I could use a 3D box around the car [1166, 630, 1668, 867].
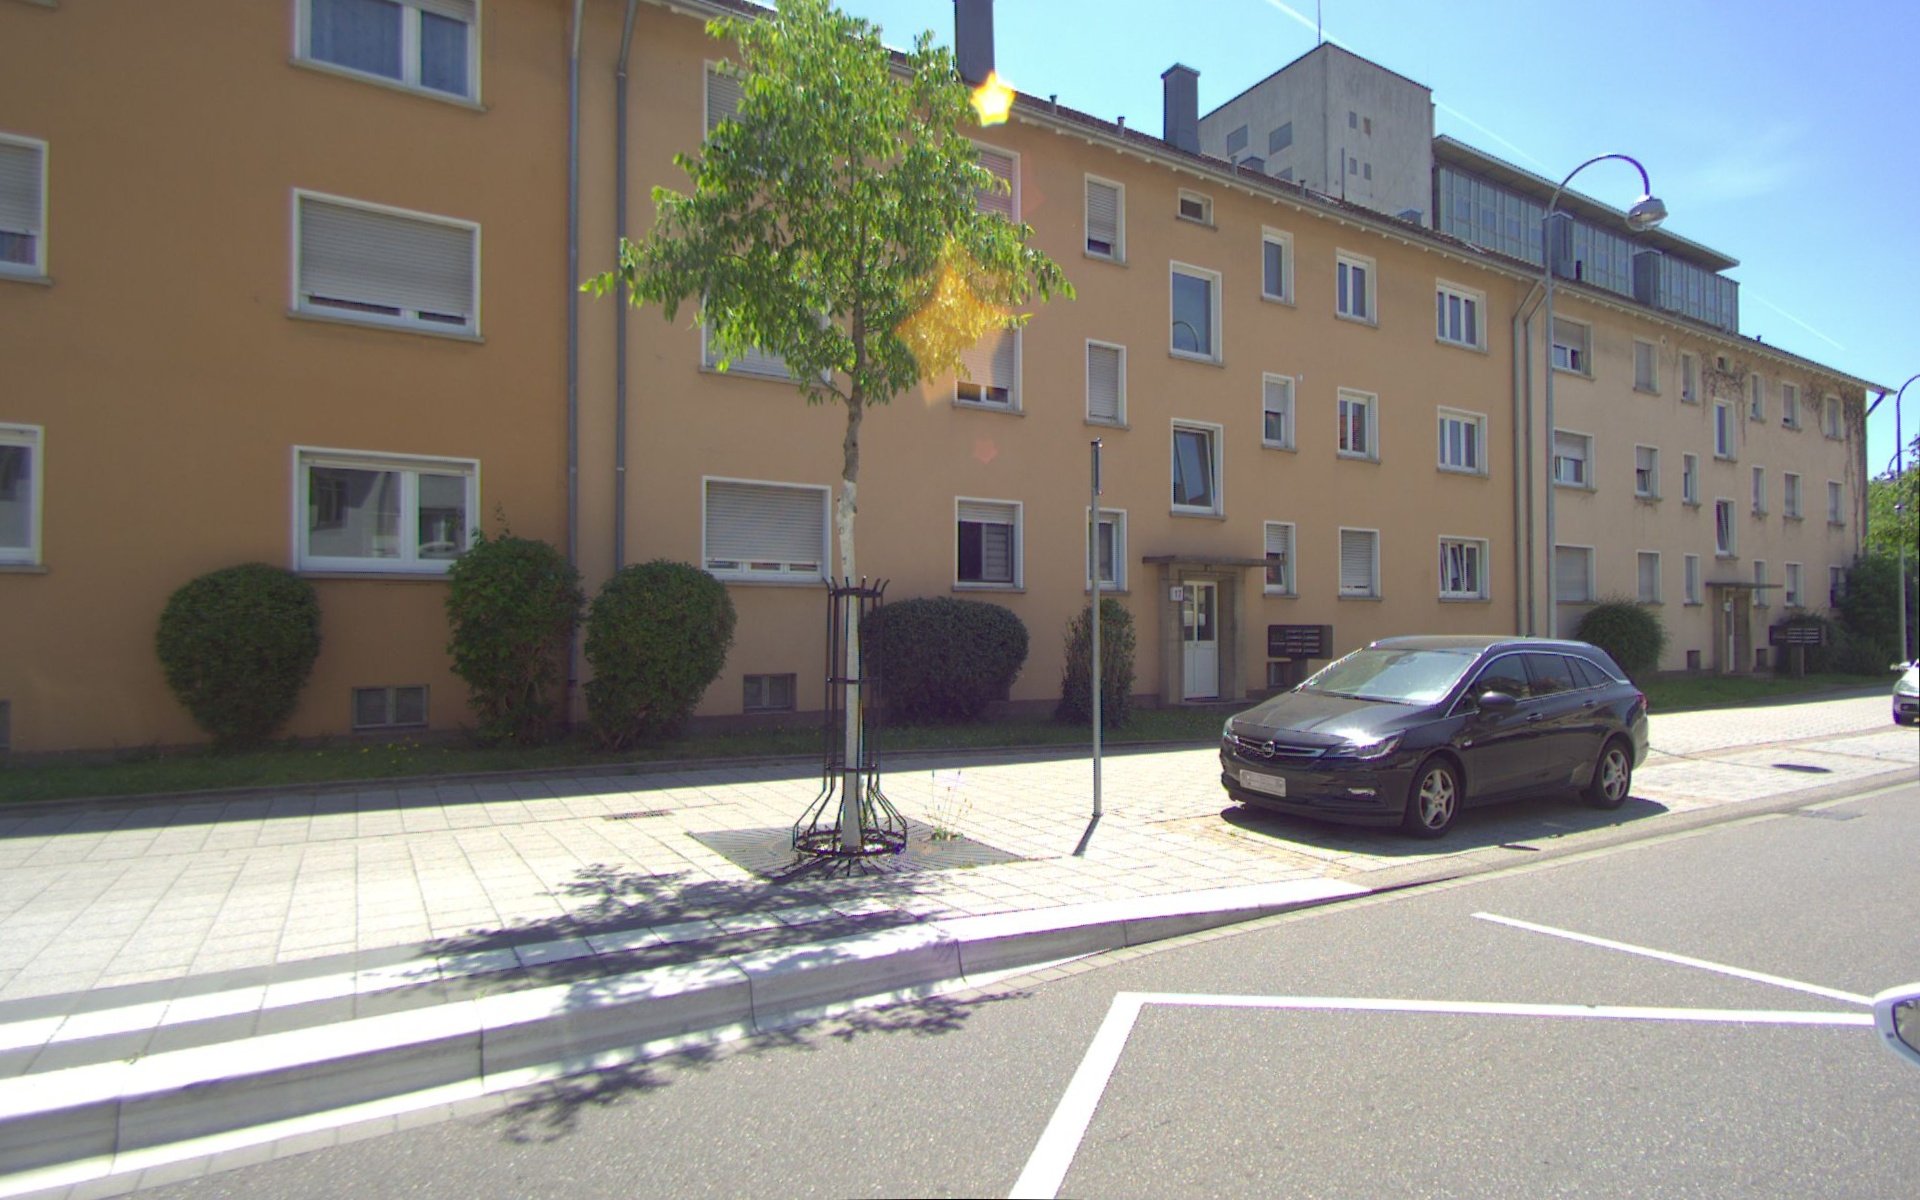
[{"bbox_3d":[4.111,1.067,8.801,4.512,1.527,1.847,1,0,-32],"label":"car"}]

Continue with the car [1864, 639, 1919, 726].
[{"bbox_3d":[17.887,1.430,17.729,4.046,1.439,1.981,2,-1,-34],"label":"car"}]
